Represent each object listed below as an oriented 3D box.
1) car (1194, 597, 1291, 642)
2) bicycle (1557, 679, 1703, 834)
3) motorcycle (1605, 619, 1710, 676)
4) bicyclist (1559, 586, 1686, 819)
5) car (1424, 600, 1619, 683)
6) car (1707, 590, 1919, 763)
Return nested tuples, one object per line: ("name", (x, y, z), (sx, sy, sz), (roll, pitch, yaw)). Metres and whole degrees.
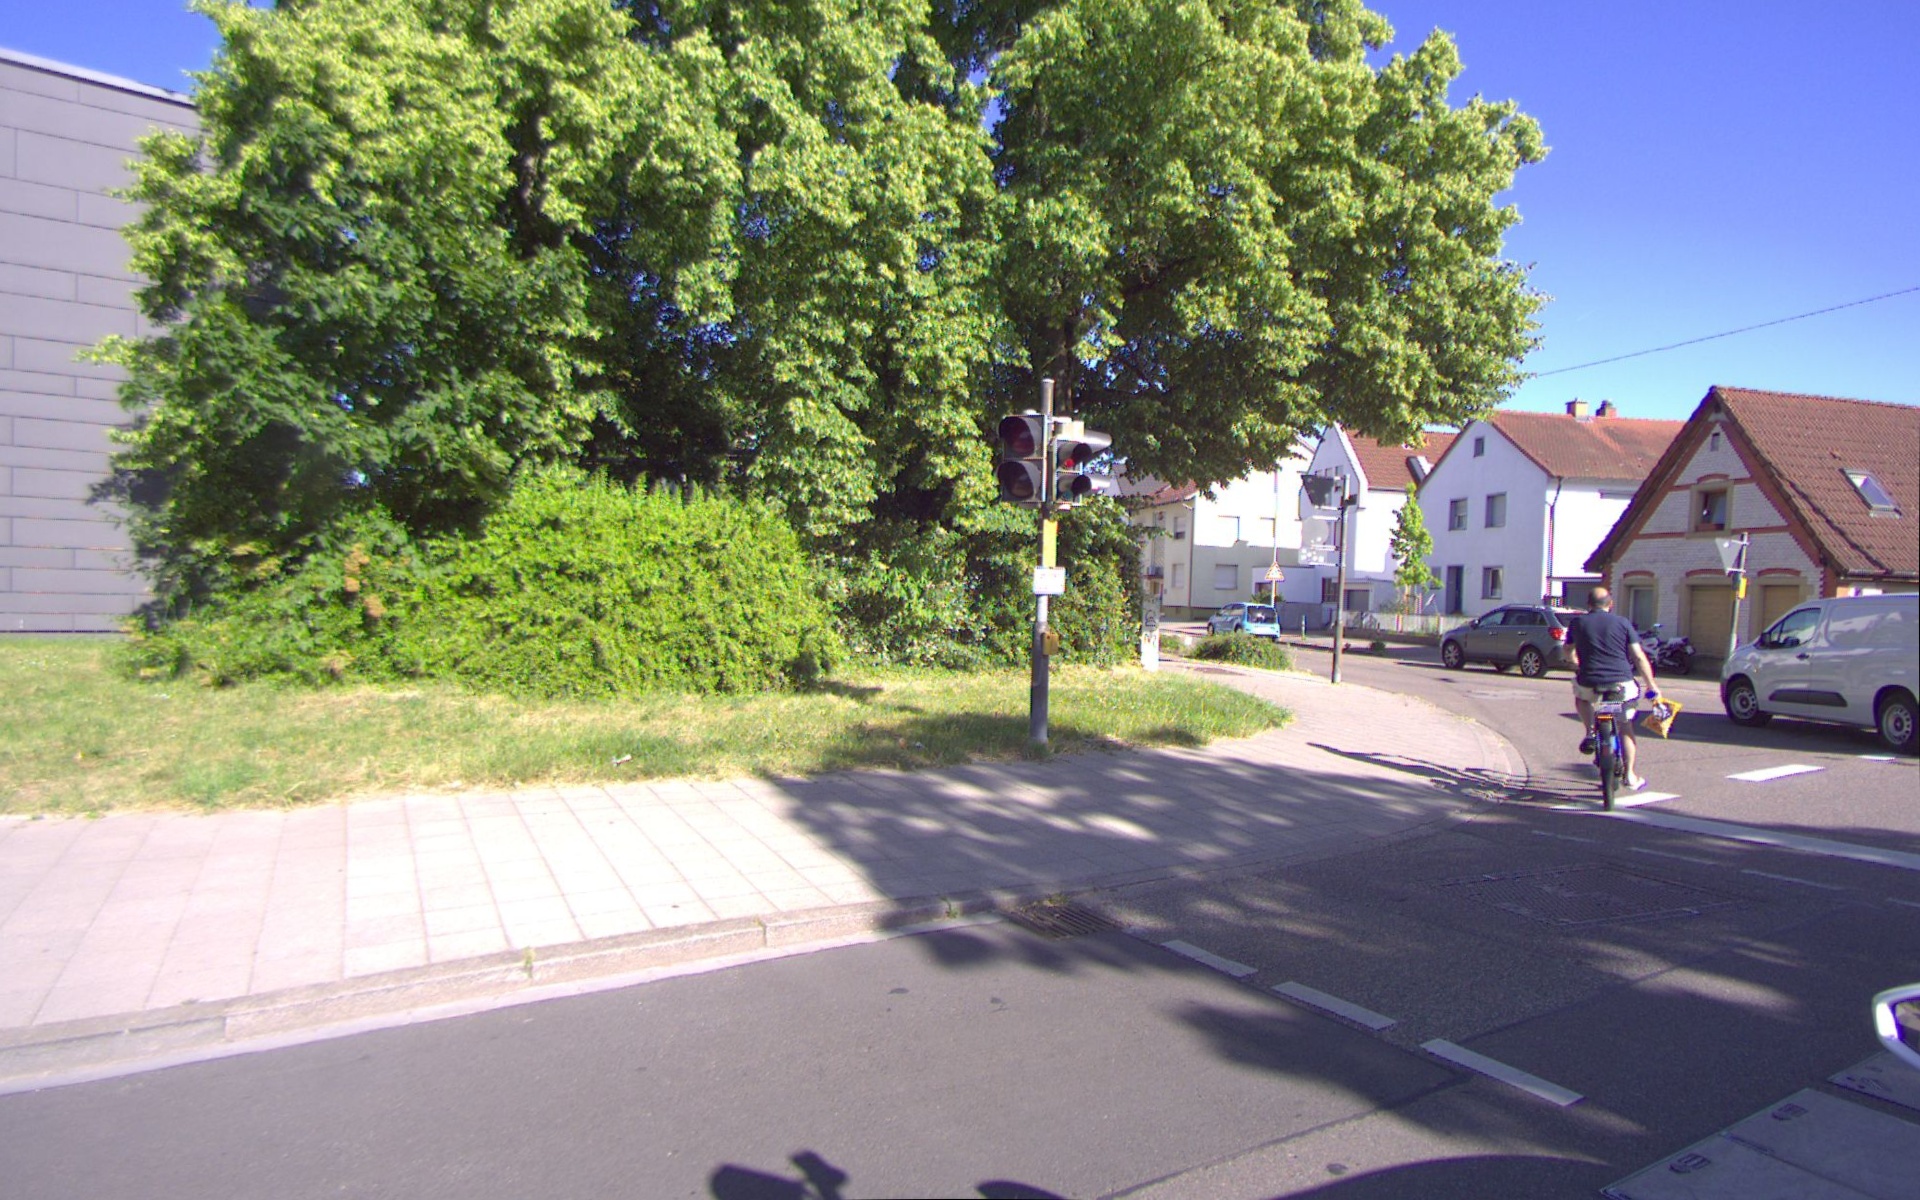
("car", (11.234, 0.742, 40.275), (1.912, 1.570, 4.223), (2, 1, -13))
("bicycle", (5.533, 1.223, 8.428), (0.763, 0.952, 2.287), (-2, -1, 28))
("motorcycle", (17.745, 1.179, 25.631), (0.867, 1.313, 2.245), (-1, 1, -11))
("bicyclist", (5.488, 0.807, 8.370), (0.753, 1.812, 0.851), (-2, -1, 28))
("car", (13.991, 0.975, 25.355), (1.912, 1.748, 4.224), (3, 0, -12))
("car", (11.704, 0.835, 12.623), (1.923, 1.873, 4.562), (1, 0, 11))
